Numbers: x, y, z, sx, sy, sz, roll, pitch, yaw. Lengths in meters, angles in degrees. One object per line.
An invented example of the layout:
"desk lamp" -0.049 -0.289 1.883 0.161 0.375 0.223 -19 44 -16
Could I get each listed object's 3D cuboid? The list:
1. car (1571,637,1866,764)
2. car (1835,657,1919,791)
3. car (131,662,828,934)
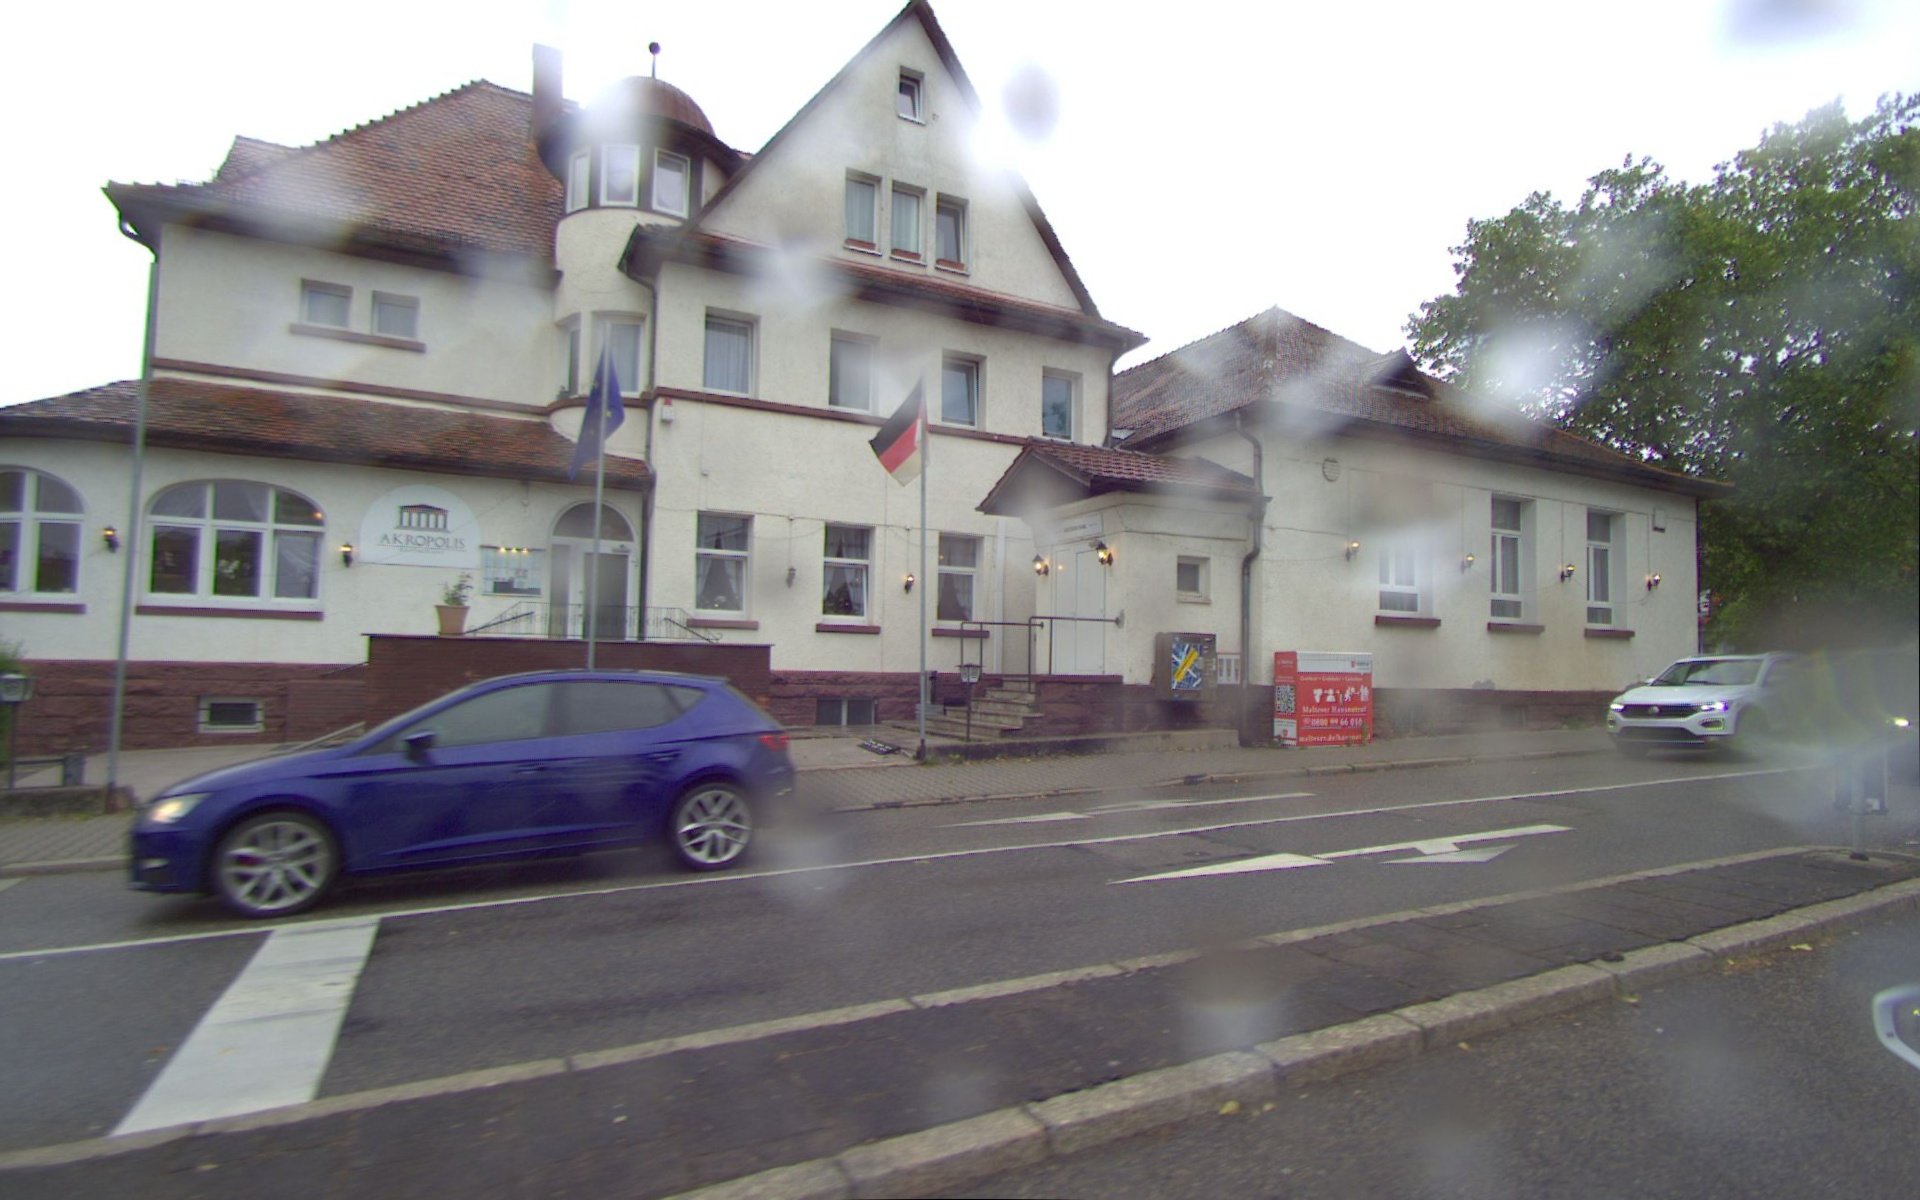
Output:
"car" 11.662 1.483 15.462 3.947 1.705 1.988 1 -5 -26
"car" 12.533 1.397 11.965 4.339 1.447 1.983 1 -4 -32
"car" -3.177 1.234 7.314 4.051 1.438 1.762 1 -5 -27
